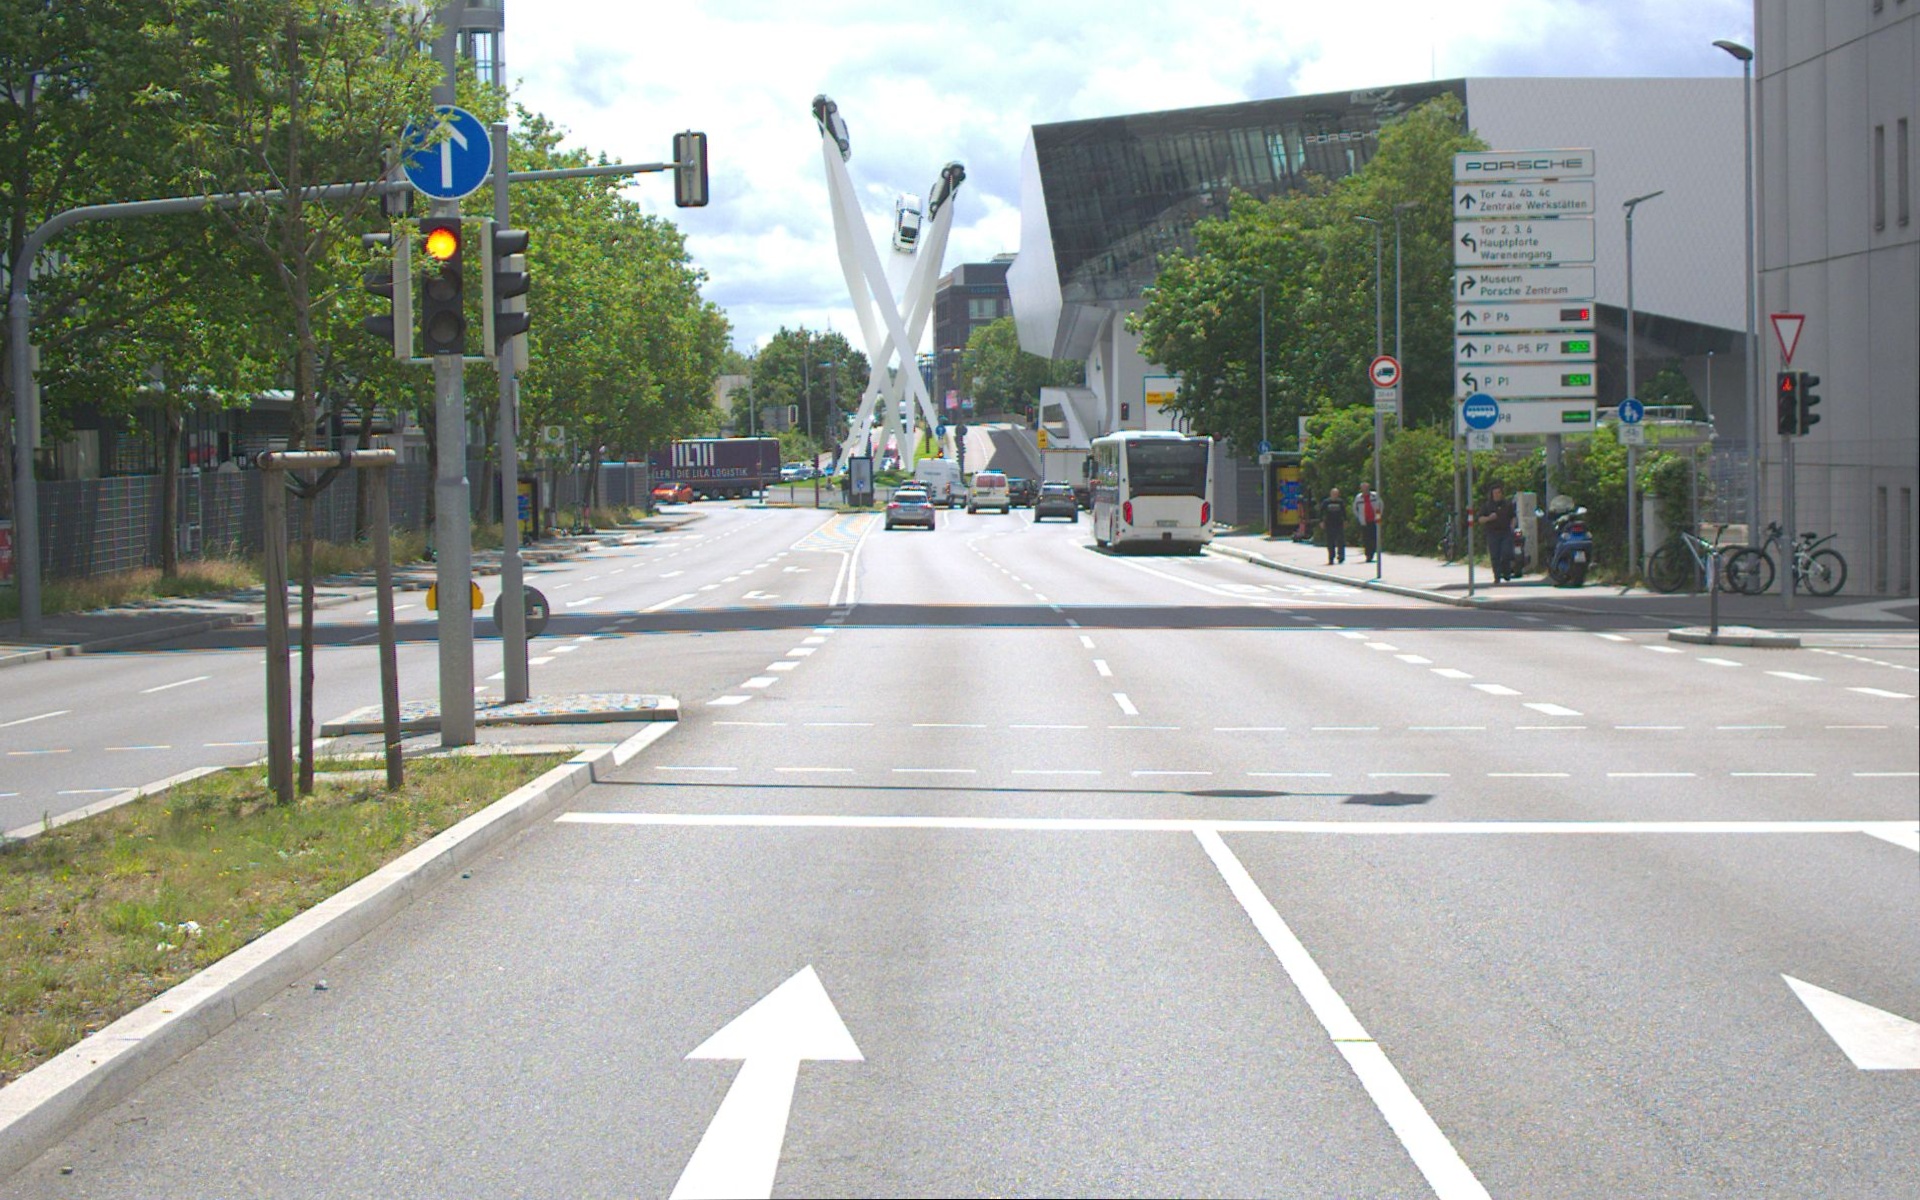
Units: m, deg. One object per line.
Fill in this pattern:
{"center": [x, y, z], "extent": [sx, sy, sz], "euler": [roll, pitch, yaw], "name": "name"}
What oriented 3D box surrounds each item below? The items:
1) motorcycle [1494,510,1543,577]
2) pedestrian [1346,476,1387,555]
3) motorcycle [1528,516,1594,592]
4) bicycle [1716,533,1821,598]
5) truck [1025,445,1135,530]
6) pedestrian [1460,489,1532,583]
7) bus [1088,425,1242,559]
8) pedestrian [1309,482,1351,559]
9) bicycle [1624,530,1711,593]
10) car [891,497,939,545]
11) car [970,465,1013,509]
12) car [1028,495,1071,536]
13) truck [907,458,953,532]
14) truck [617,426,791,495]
{"center": [10.552, -1.074, 65.000], "extent": [0.574, 1.199, 2.024], "euler": [-2, 2, 0], "name": "motorcycle"}
{"center": [8.987, -1.862, 75.991], "extent": [0.820, 1.735, 0.637], "euler": [0, 1, 0], "name": "pedestrian"}
{"center": [9.991, -0.778, 57.238], "extent": [0.706, 1.199, 2.024], "euler": [-2, 2, 0], "name": "motorcycle"}
{"center": [11.982, -0.516, 51.012], "extent": [0.397, 0.933, 1.929], "euler": [0, 2, -25], "name": "bicycle"}
{"center": [6.464, -5.982, 183.729], "extent": [3.455, 4.376, 9.412], "euler": [1, 1, 18], "name": "truck"}
{"center": [9.358, -1.121, 59.983], "extent": [0.849, 1.619, 0.954], "euler": [1, 2, 41], "name": "pedestrian"}
{"center": [5.643, -3.003, 96.602], "extent": [3.452, 3.531, 10.607], "euler": [0, 1, -1], "name": "bus"}
{"center": [8.174, -1.758, 76.030], "extent": [0.820, 1.701, 0.881], "euler": [0, 1, 0], "name": "pedestrian"}
{"center": [10.957, -0.605, 53.308], "extent": [0.397, 0.933, 1.929], "euler": [0, 1, -19], "name": "bicycle"}
{"center": [-1.651, -2.952, 127.891], "extent": [1.738, 1.735, 3.691], "euler": [0, 1, 0], "name": "car"}
{"center": [1.528, -5.552, 168.766], "extent": [1.993, 2.007, 4.000], "euler": [1, 0, -1], "name": "car"}
{"center": [3.805, -3.595, 146.097], "extent": [1.738, 1.735, 3.691], "euler": [0, 1, 0], "name": "car"}
{"center": [-1.554, -5.583, 183.010], "extent": [2.392, 3.884, 6.177], "euler": [0, 1, 0], "name": "truck"}
{"center": [-17.638, -9.617, 237.962], "extent": [12.131, 4.309, 3.573], "euler": [1, 0, -39], "name": "truck"}
